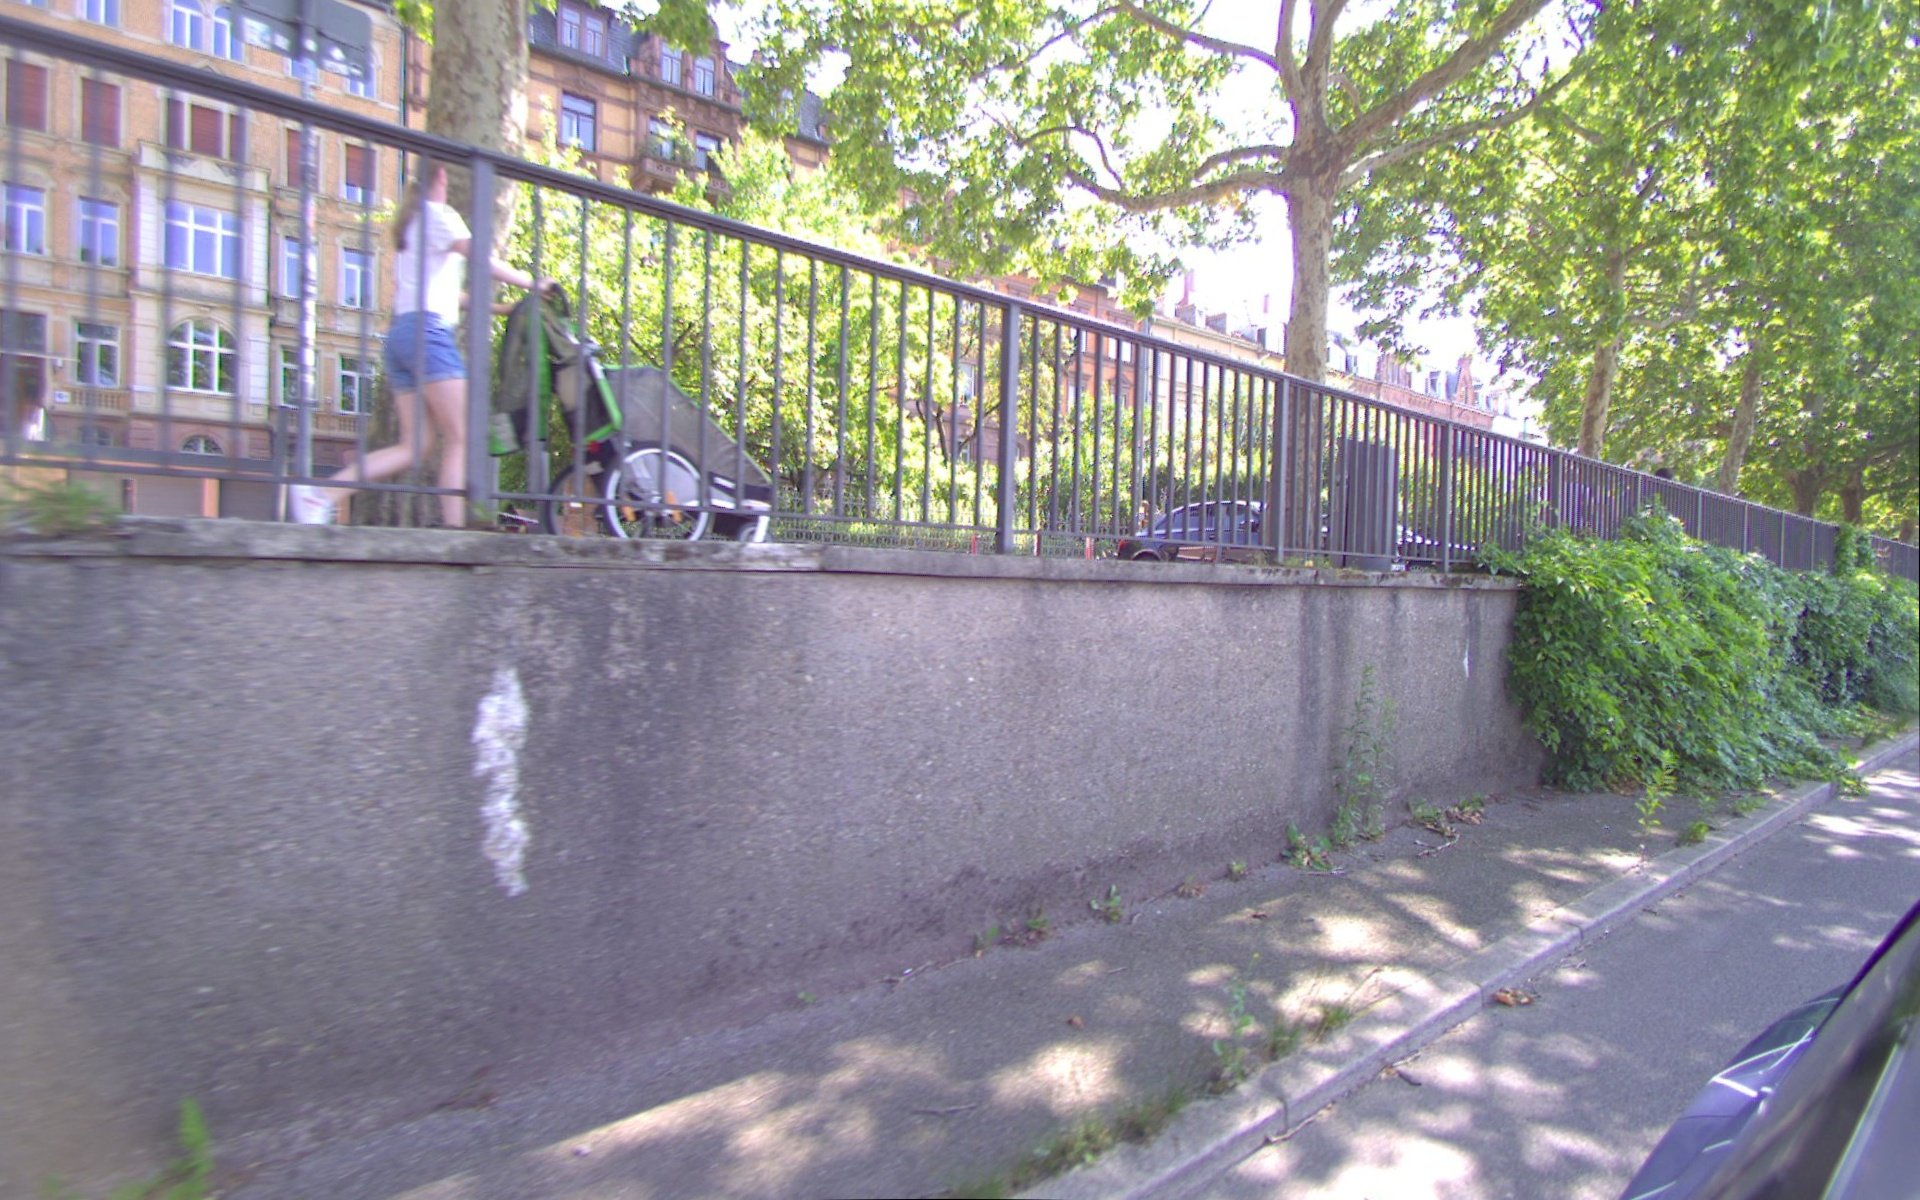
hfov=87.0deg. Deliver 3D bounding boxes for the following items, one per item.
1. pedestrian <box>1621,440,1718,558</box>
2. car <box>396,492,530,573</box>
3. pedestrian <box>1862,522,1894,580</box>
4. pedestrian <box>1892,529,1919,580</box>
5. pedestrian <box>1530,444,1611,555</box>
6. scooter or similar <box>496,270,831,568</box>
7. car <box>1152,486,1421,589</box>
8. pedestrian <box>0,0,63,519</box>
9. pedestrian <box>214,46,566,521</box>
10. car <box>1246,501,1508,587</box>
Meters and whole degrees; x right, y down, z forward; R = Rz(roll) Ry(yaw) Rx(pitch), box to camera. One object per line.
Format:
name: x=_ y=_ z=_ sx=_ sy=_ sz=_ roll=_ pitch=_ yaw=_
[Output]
pedestrian: x=8.844 y=-1.240 z=12.622 sx=0.800 sy=1.382 sz=0.754 roll=1 pitch=3 yaw=-42
car: x=-10.922 y=-1.400 z=22.122 sx=1.759 sy=1.556 sz=3.793 roll=1 pitch=0 yaw=-40
pedestrian: x=26.789 y=-1.435 z=29.539 sx=0.646 sy=1.660 sz=0.617 roll=2 pitch=1 yaw=42
pedestrian: x=27.408 y=-1.307 z=29.298 sx=0.584 sy=1.437 sz=0.580 roll=2 pitch=1 yaw=42
pedestrian: x=8.075 y=-1.316 z=13.382 sx=0.781 sy=1.382 sz=0.645 roll=1 pitch=3 yaw=-42
scooter or similar: x=-1.261 y=-0.689 z=4.310 sx=1.088 sy=1.039 sz=0.857 roll=0 pitch=4 yaw=-41
car: x=4.528 y=-0.911 z=14.520 sx=1.484 sy=1.250 sz=3.540 roll=1 pitch=3 yaw=-30
pedestrian: x=-2.750 y=-1.023 z=2.333 sx=1.010 sy=1.598 sz=0.938 roll=1 pitch=3 yaw=-42
pedestrian: x=-2.061 y=-1.011 z=3.673 sx=0.972 sy=1.382 sz=0.682 roll=1 pitch=3 yaw=-41
car: x=6.987 y=-0.973 z=17.153 sx=3.724 sy=1.250 sz=1.649 roll=6 pitch=4 yaw=42
